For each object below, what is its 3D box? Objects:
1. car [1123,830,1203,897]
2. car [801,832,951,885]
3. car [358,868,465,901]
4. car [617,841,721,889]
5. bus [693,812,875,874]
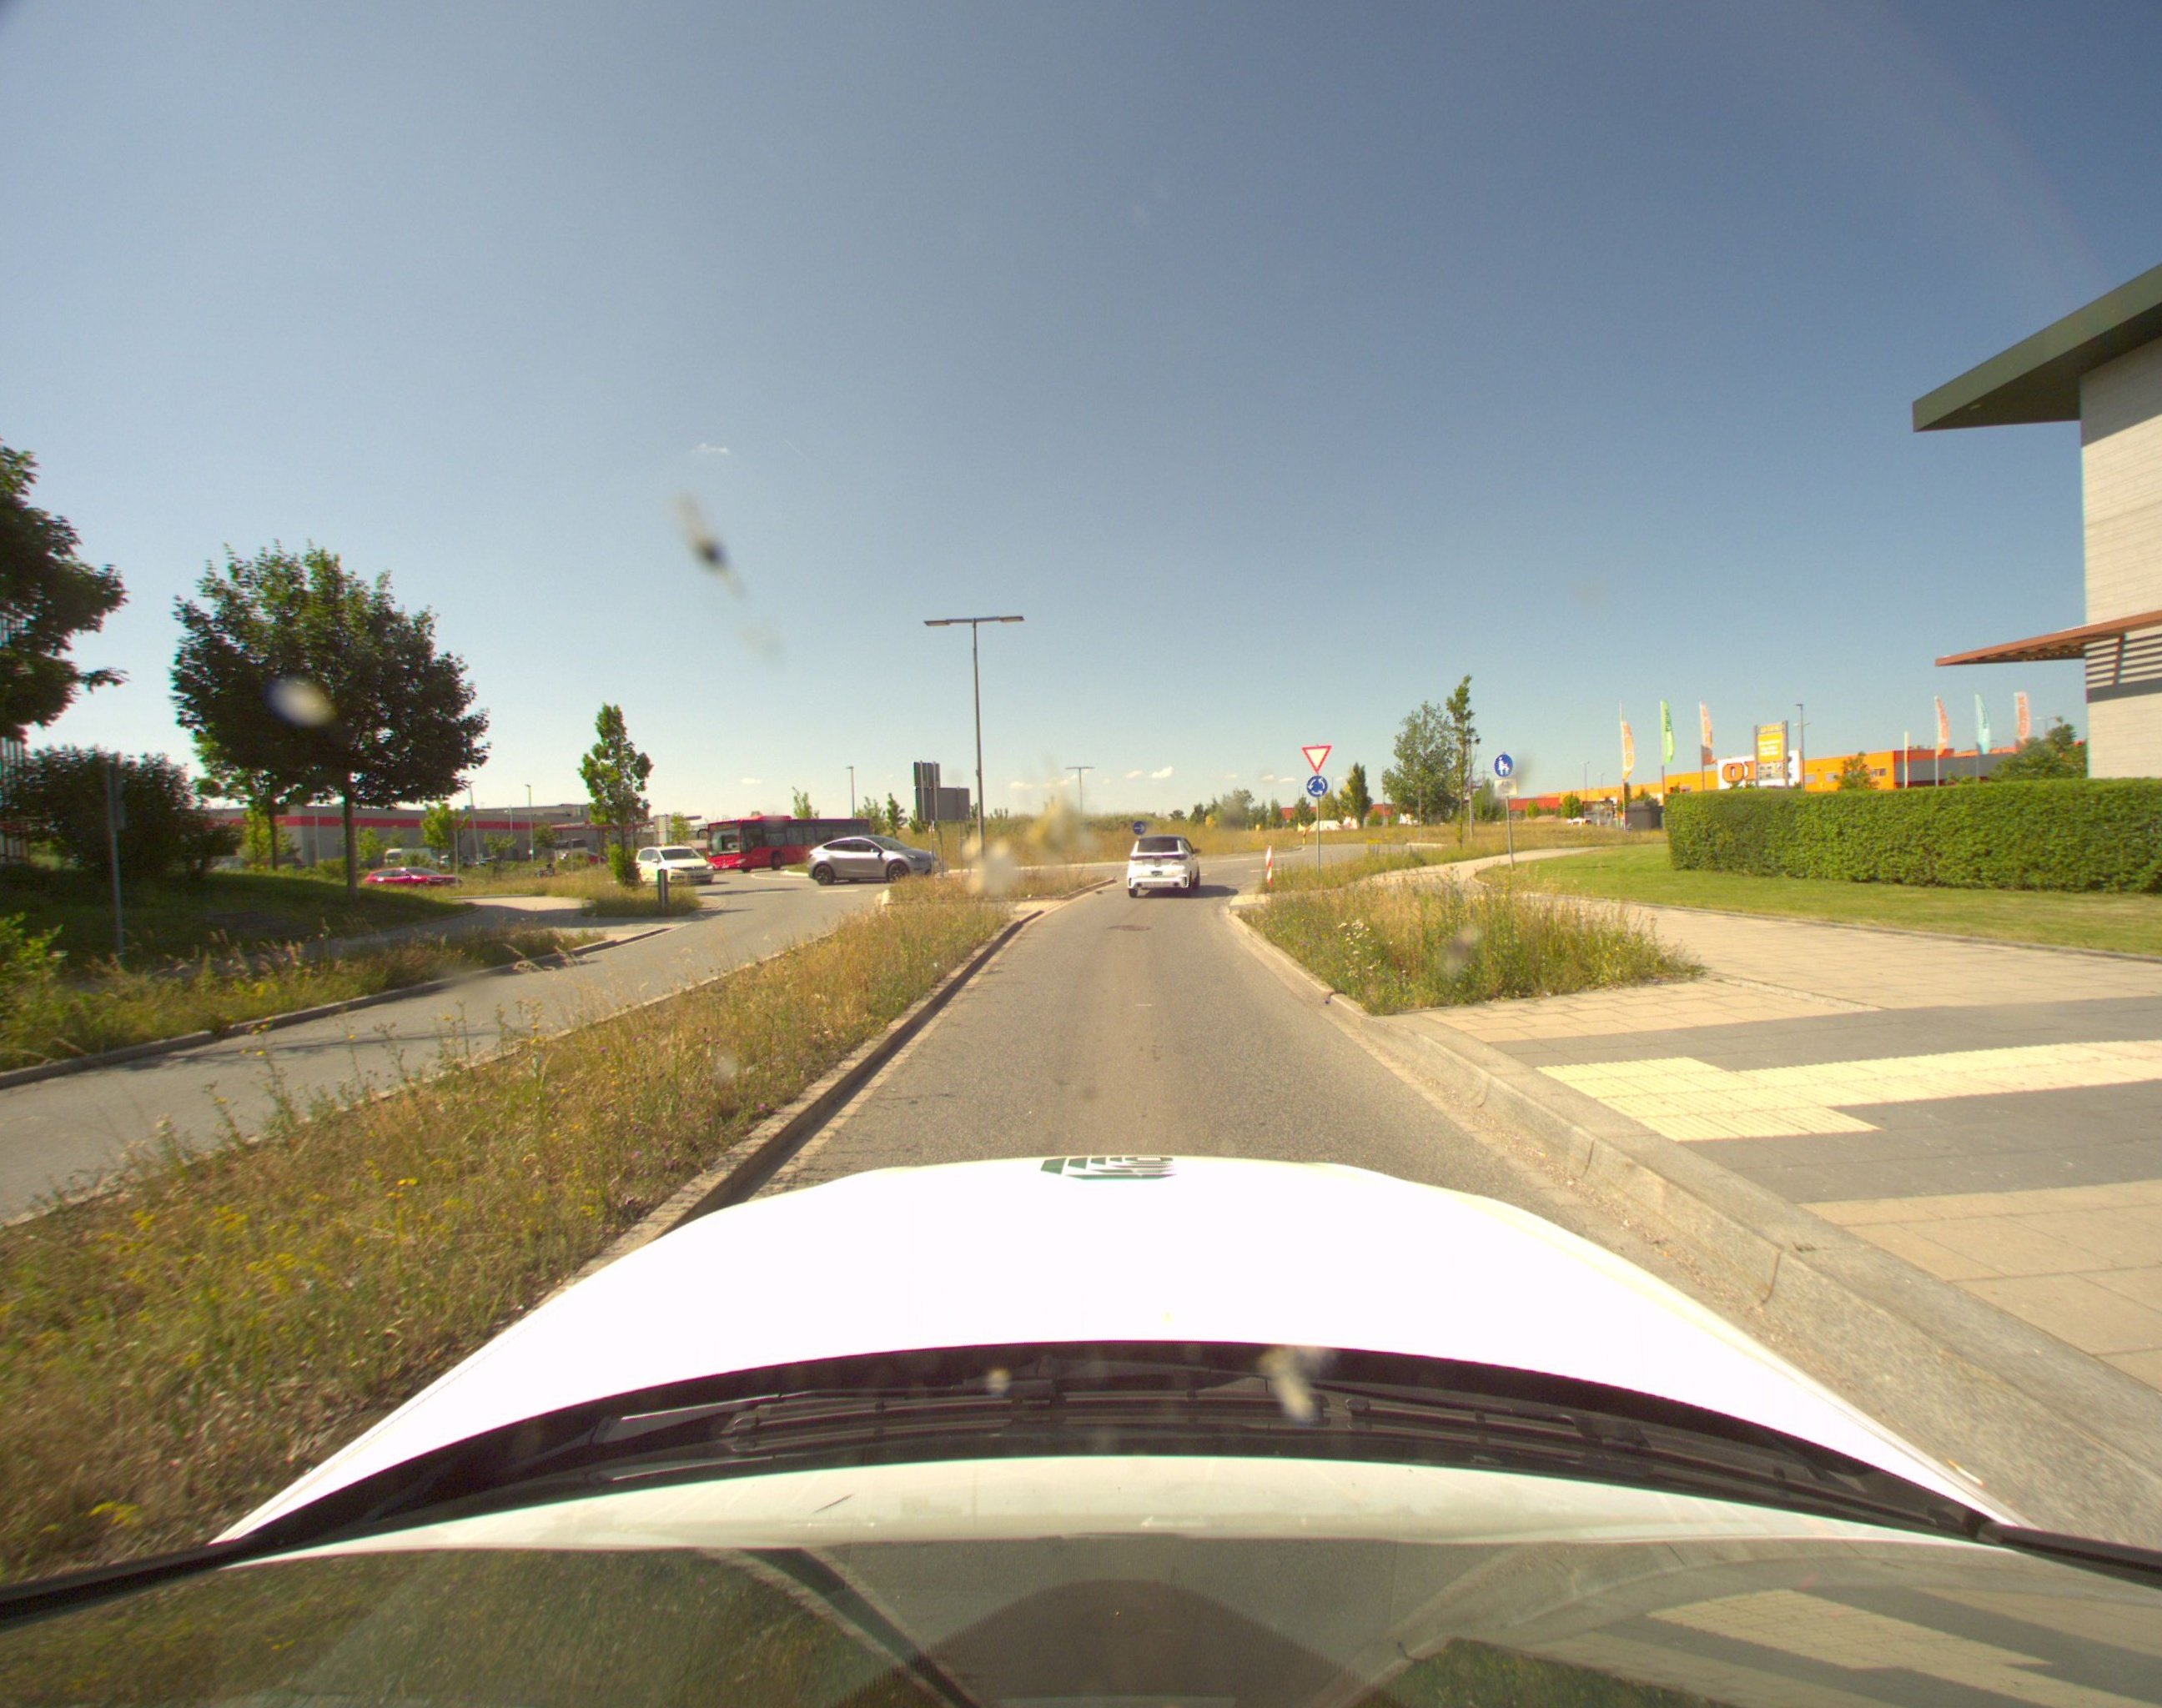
[{"bbox_3d":[2.181,0.170,20.867,1.606,1.434,3.806,-2,2,12],"label":"car"},{"bbox_3d":[-7.003,0.151,27.912,4.572,1.625,1.973,-1,2,18],"label":"car"},{"bbox_3d":[-32.718,1.481,39.847,3.969,1.387,1.575,-2,1,4],"label":"car"},{"bbox_3d":[-16.742,0.468,32.980,4.530,1.665,1.859,-3,2,37],"label":"car"},{"bbox_3d":[-17.257,-0.845,48.987,2.763,3.078,12.269,-3,2,21],"label":"bus"}]
